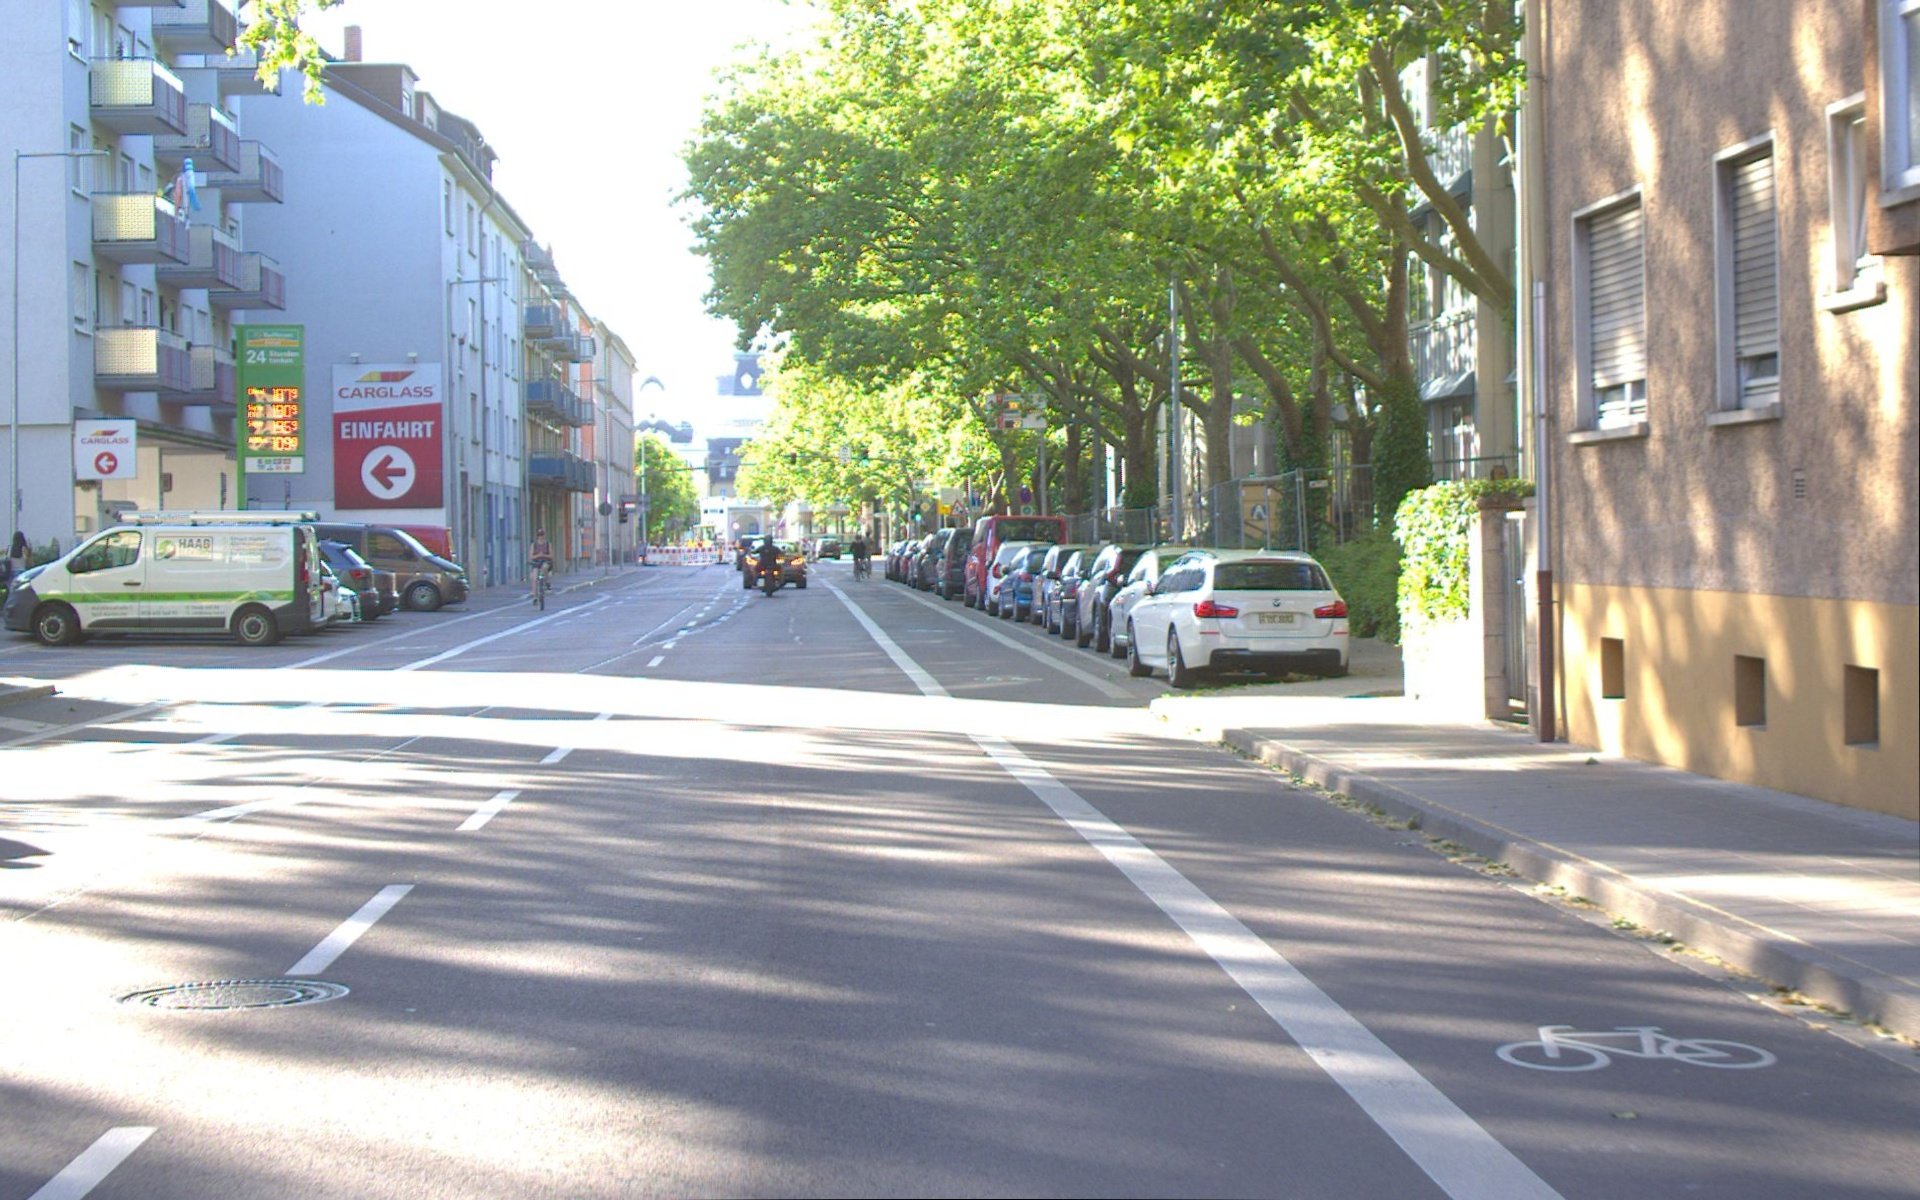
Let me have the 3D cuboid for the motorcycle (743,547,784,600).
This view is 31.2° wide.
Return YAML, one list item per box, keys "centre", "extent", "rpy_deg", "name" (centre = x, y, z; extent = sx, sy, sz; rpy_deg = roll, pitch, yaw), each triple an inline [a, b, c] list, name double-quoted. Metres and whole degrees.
- centre: [-5.044, -0.682, 87.976]
  extent: [1.012, 1.302, 2.673]
  rpy_deg: [-1, 1, -4]
  name: "motorcycle"

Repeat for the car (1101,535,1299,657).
- centre: [2.950, -0.092, 43.241]
  extent: [1.855, 1.431, 4.603]
  rpy_deg: [0, 1, -4]
  name: "car"

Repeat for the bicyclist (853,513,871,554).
- centre: [-3.702, -2.507, 129.836]
  extent: [0.656, 1.525, 0.906]
  rpy_deg: [1, 0, -4]
  name: "bicyclist"

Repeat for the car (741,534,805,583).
- centre: [-5.540, -1.248, 101.666]
  extent: [1.828, 1.415, 3.815]
  rpy_deg: [0, 1, -4]
  name: "car"

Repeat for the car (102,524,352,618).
- centre: [-12.660, -0.519, 59.512]
  extent: [3.986, 1.554, 1.853]
  rpy_deg: [1, 1, -3]
  name: "car"

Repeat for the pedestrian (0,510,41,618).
- centre: [-15.804, -0.608, 57.583]
  extent: [0.631, 1.783, 0.722]
  rpy_deg: [0, 1, -3]
  name: "pedestrian"

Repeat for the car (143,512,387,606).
- centre: [-12.937, -0.765, 64.196]
  extent: [4.193, 1.678, 2.028]
  rpy_deg: [1, 1, -3]
  name: "car"

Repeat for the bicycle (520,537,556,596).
- centre: [-9.358, -0.749, 76.321]
  extent: [0.607, 1.235, 2.050]
  rpy_deg: [-3, 2, -3]
  name: "bicycle"

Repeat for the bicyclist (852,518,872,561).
- centre: [-3.469, -2.134, 121.822]
  extent: [0.656, 1.525, 0.852]
  rpy_deg: [1, 0, -4]
  name: "bicyclist"

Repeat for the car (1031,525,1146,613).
- centre: [2.243, -0.568, 60.752]
  extent: [1.613, 1.470, 3.493]
  rpy_deg: [2, 1, -4]
  name: "car"

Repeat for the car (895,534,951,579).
- centre: [-1.286, -1.500, 116.932]
  extent: [1.692, 1.474, 4.319]
  rpy_deg: [1, 1, -3]
  name: "car"

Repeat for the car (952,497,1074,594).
- centre: [1.109, -1.193, 74.565]
  extent: [2.077, 1.987, 5.173]
  rpy_deg: [1, 1, -5]
  name: "car"

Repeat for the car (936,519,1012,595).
- centre: [0.322, -1.080, 85.647]
  extent: [1.693, 1.806, 4.130]
  rpy_deg: [1, 1, -2]
  name: "car"

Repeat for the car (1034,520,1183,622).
- centre: [2.326, -0.491, 55.011]
  extent: [1.855, 1.517, 4.600]
  rpy_deg: [1, 1, -4]
  name: "car"

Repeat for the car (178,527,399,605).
- centre: [-13.007, -0.664, 66.783]
  extent: [3.986, 1.451, 1.916]
  rpy_deg: [1, 1, -3]
  name: "car"

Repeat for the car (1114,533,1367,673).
- centre: [2.991, -0.013, 37.740]
  extent: [1.855, 1.431, 4.971]
  rpy_deg: [0, 1, -6]
  name: "car"

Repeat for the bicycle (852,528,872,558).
- centre: [-3.707, -2.138, 129.777]
  extent: [0.656, 1.107, 2.186]
  rpy_deg: [1, 1, -4]
  name: "bicycle"

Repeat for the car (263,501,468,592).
- centre: [-13.821, -1.253, 80.135]
  extent: [4.420, 1.945, 2.146]
  rpy_deg: [2, 1, -3]
  name: "car"

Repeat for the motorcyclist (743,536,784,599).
- centre: [-5.047, -0.838, 88.076]
  extent: [1.012, 1.596, 1.406]
  rpy_deg: [-1, 1, -4]
  name: "motorcyclist"

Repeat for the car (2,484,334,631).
- centre: [-12.592, -0.687, 54.933]
  extent: [4.843, 2.209, 2.140]
  rpy_deg: [1, 1, -3]
  name: "car"

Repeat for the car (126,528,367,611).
- centre: [-12.751, -0.557, 61.637]
  extent: [3.986, 1.428, 1.853]
  rpy_deg: [1, 1, -3]
  name: "car"

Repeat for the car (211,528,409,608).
- centre: [-13.067, -0.646, 69.279]
  extent: [3.685, 1.508, 1.831]
  rpy_deg: [1, 1, -3]
  name: "car"

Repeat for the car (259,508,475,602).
- centre: [-13.290, -1.014, 77.305]
  extent: [4.522, 1.945, 2.057]
  rpy_deg: [2, 1, -3]
  name: "car"

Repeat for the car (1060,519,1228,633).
- centre: [2.558, -0.369, 48.856]
  extent: [1.855, 1.517, 4.298]
  rpy_deg: [1, 1, -4]
  name: "car"

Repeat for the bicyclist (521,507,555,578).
- centre: [-9.406, -1.279, 76.626]
  extent: [0.607, 1.539, 0.934]
  rpy_deg: [-2, 2, -3]
  name: "bicyclist"

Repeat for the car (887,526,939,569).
- centre: [-1.690, -1.886, 122.805]
  extent: [1.693, 1.461, 4.066]
  rpy_deg: [1, 1, -2]
  name: "car"

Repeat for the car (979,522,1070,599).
- centre: [1.274, -0.813, 69.523]
  extent: [1.637, 1.480, 3.760]
  rpy_deg: [1, 1, -2]
  name: "car"

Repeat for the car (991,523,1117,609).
- centre: [1.749, -0.675, 65.088]
  extent: [1.855, 1.505, 3.930]
  rpy_deg: [2, 1, -6]
  name: "car"

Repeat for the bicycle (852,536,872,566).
- centre: [-3.476, -1.727, 121.827]
  extent: [0.656, 1.066, 1.927]
  rpy_deg: [1, 1, -4]
  name: "bicycle"
